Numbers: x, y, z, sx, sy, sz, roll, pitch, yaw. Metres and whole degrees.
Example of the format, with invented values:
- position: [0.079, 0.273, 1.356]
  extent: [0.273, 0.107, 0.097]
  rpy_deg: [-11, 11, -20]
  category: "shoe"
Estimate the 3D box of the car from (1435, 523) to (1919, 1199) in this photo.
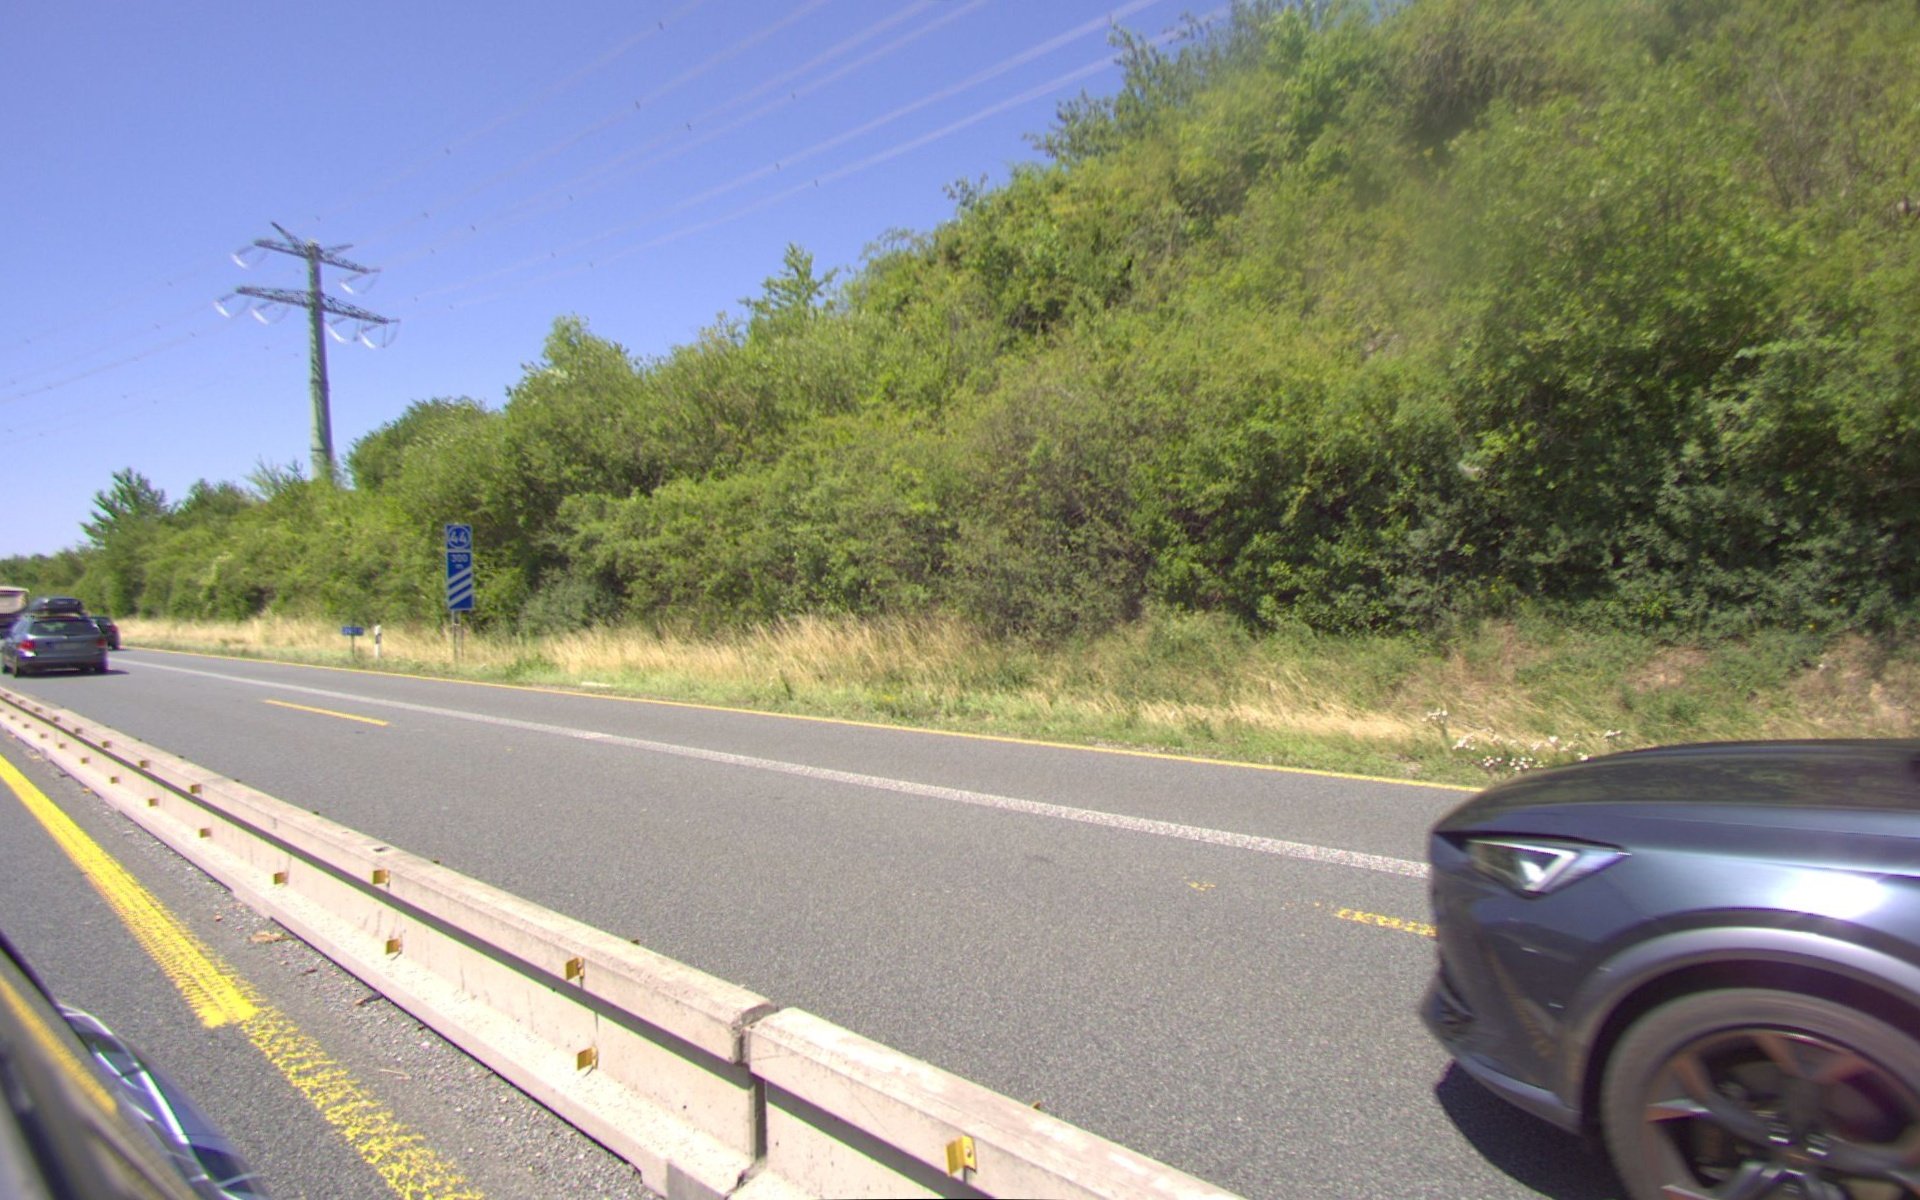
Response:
- position: [3.325, 0.599, 1.645]
  extent: [4.274, 1.516, 1.879]
  rpy_deg: [-1, 0, 41]
  category: "car"

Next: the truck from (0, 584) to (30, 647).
- position: [-63.250, 1.047, 65.940]
  extent: [11.378, 3.804, 2.904]
  rpy_deg: [-1, 1, 43]
  category: "truck"

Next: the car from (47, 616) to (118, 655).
- position: [-34.993, 1.387, 40.331]
  extent: [3.641, 1.432, 1.663]
  rpy_deg: [-1, 0, 42]
  category: "car"

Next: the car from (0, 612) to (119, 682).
- position: [-22.315, 1.088, 24.939]
  extent: [4.275, 1.527, 1.879]
  rpy_deg: [-1, 0, 42]
  category: "car"
